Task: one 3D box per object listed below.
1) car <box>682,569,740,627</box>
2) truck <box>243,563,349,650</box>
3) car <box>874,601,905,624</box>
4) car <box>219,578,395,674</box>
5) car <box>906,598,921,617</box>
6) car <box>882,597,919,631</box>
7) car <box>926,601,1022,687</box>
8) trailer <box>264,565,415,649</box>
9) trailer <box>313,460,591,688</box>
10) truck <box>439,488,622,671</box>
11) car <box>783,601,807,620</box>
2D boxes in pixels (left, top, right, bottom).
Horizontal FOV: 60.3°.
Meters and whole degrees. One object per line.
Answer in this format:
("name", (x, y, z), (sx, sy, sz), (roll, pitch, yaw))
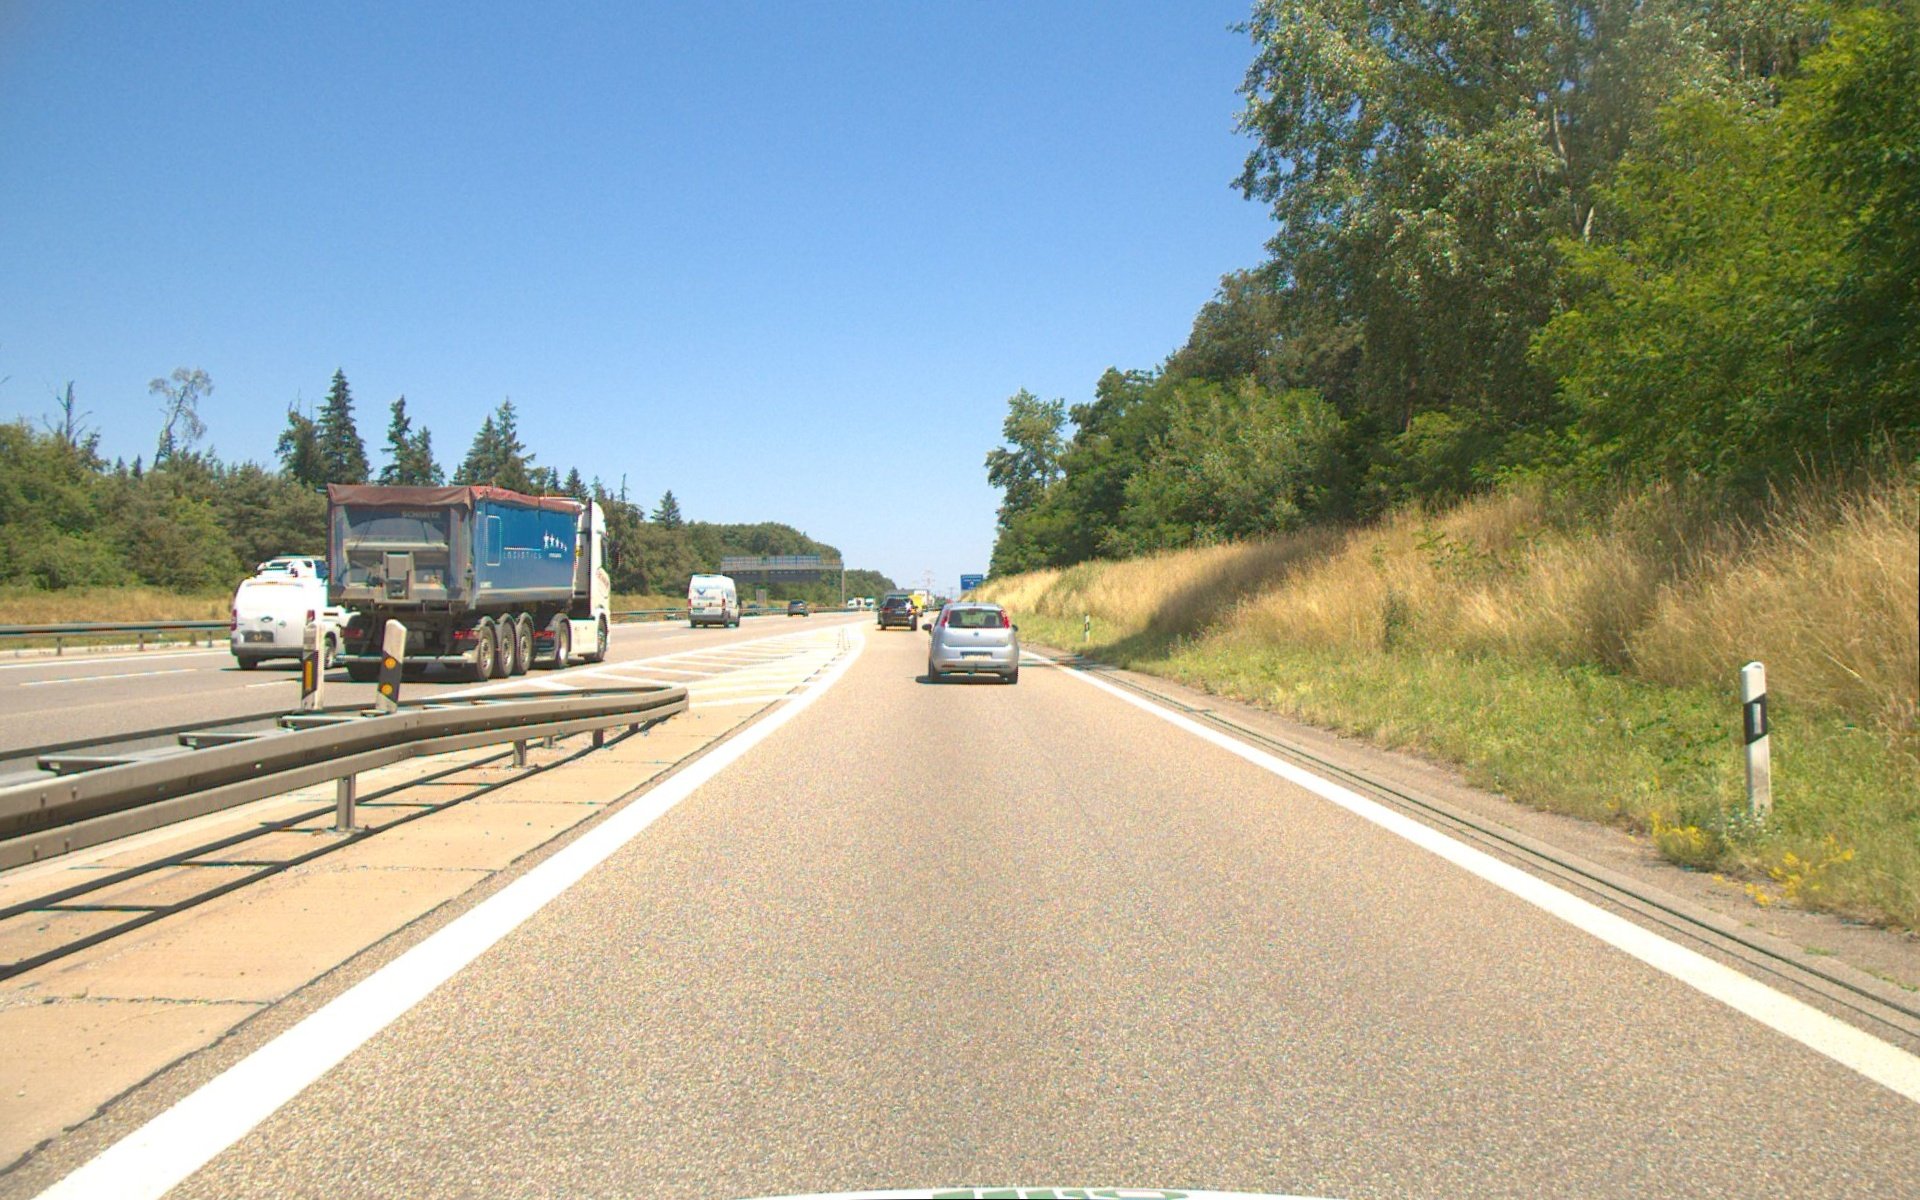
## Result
("car", (-13.451, -0.103, 89.813), (2.214, 3.002, 6.112), (1, 0, -1))
("truck", (-34.268, 0.347, 85.535), (3.137, 4.245, 5.721), (-1, -1, -1))
("car", (-4.592, 0.814, 108.320), (1.855, 1.495, 4.261), (1, 0, 0))
("car", (-13.538, 0.506, 34.629), (1.794, 1.866, 4.716), (0, 0, 0))
("car", (-5.061, 0.804, 178.874), (1.579, 2.049, 3.998), (1, 0, -2))
("car", (-3.152, 0.769, 88.147), (1.794, 1.701, 4.000), (1, -1, 0))
("car", (0.223, 0.794, 31.741), (1.684, 1.518, 3.736), (1, 0, -2))
("trailer", (-34.307, 0.405, 92.334), (3.137, 4.245, 13.982), (-1, 0, 0))
("trailer", (-9.531, -0.425, 32.279), (2.681, 3.824, 9.107), (0, 0, -1))
("truck", (-9.579, -0.418, 37.514), (2.630, 3.824, 5.943), (0, 0, -1))
("car", (-16.510, 1.031, 165.578), (2.113, 1.846, 4.858), (0, 0, -2))
